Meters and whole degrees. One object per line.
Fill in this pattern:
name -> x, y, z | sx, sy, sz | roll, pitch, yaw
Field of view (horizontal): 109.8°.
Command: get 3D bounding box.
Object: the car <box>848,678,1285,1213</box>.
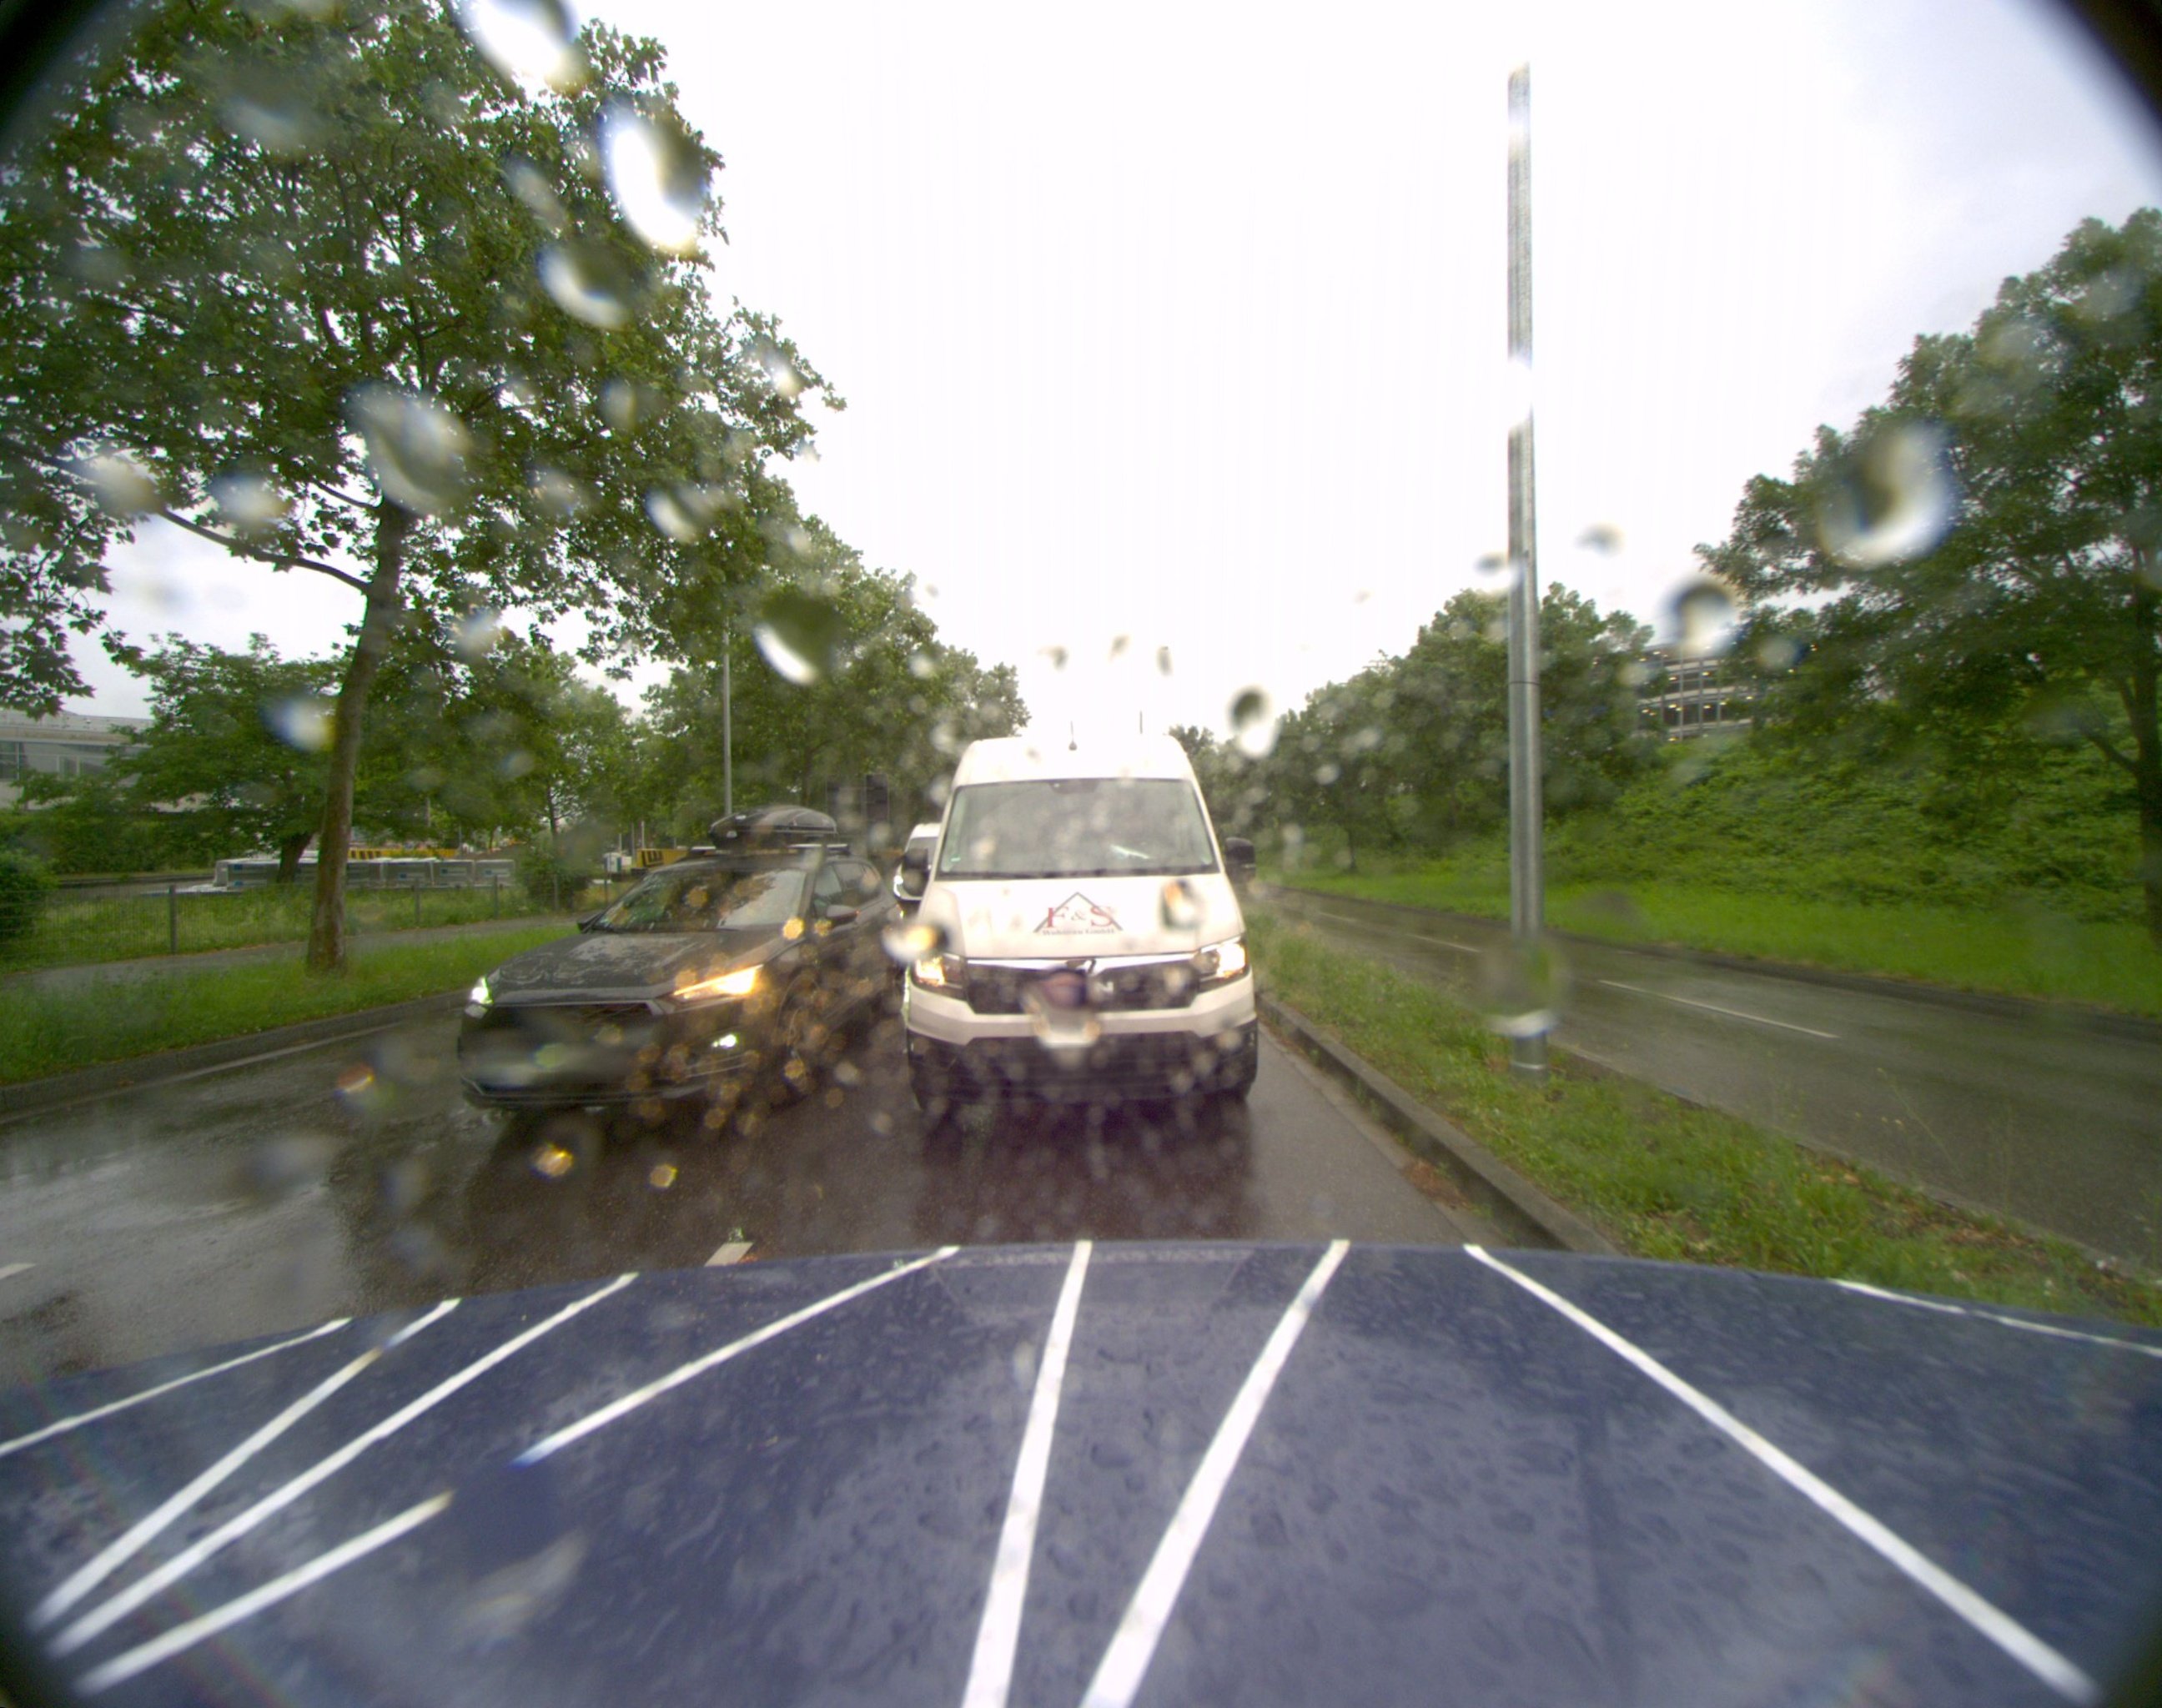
car -> -0.113, 0.425, 6.450 | 2.027, 2.498, 5.695 | -1, 0, -1

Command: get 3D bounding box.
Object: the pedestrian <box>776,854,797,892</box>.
pedestrian -> -13.826, 0.891, 35.630 | 0.646, 1.707, 0.656 | -2, 1, 1

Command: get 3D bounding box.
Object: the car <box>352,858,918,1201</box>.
car -> -2.750, 0.911, 6.094 | 1.894, 1.688, 4.423 | -1, 0, 0

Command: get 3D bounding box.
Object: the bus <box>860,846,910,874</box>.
bus -> -19.141, 0.565, 74.383 | 4.370, 2.553, 1.711 | -2, 1, 0

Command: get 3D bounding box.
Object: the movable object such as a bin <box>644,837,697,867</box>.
movable object such as a bin -> -48.305, -0.248, 89.521 | 1.913, 3.415, 4.947 | -1, 1, 39

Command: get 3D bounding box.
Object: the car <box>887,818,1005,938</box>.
car -> -3.038, 0.492, 18.236 | 1.894, 2.432, 5.317 | -1, 0, -1
